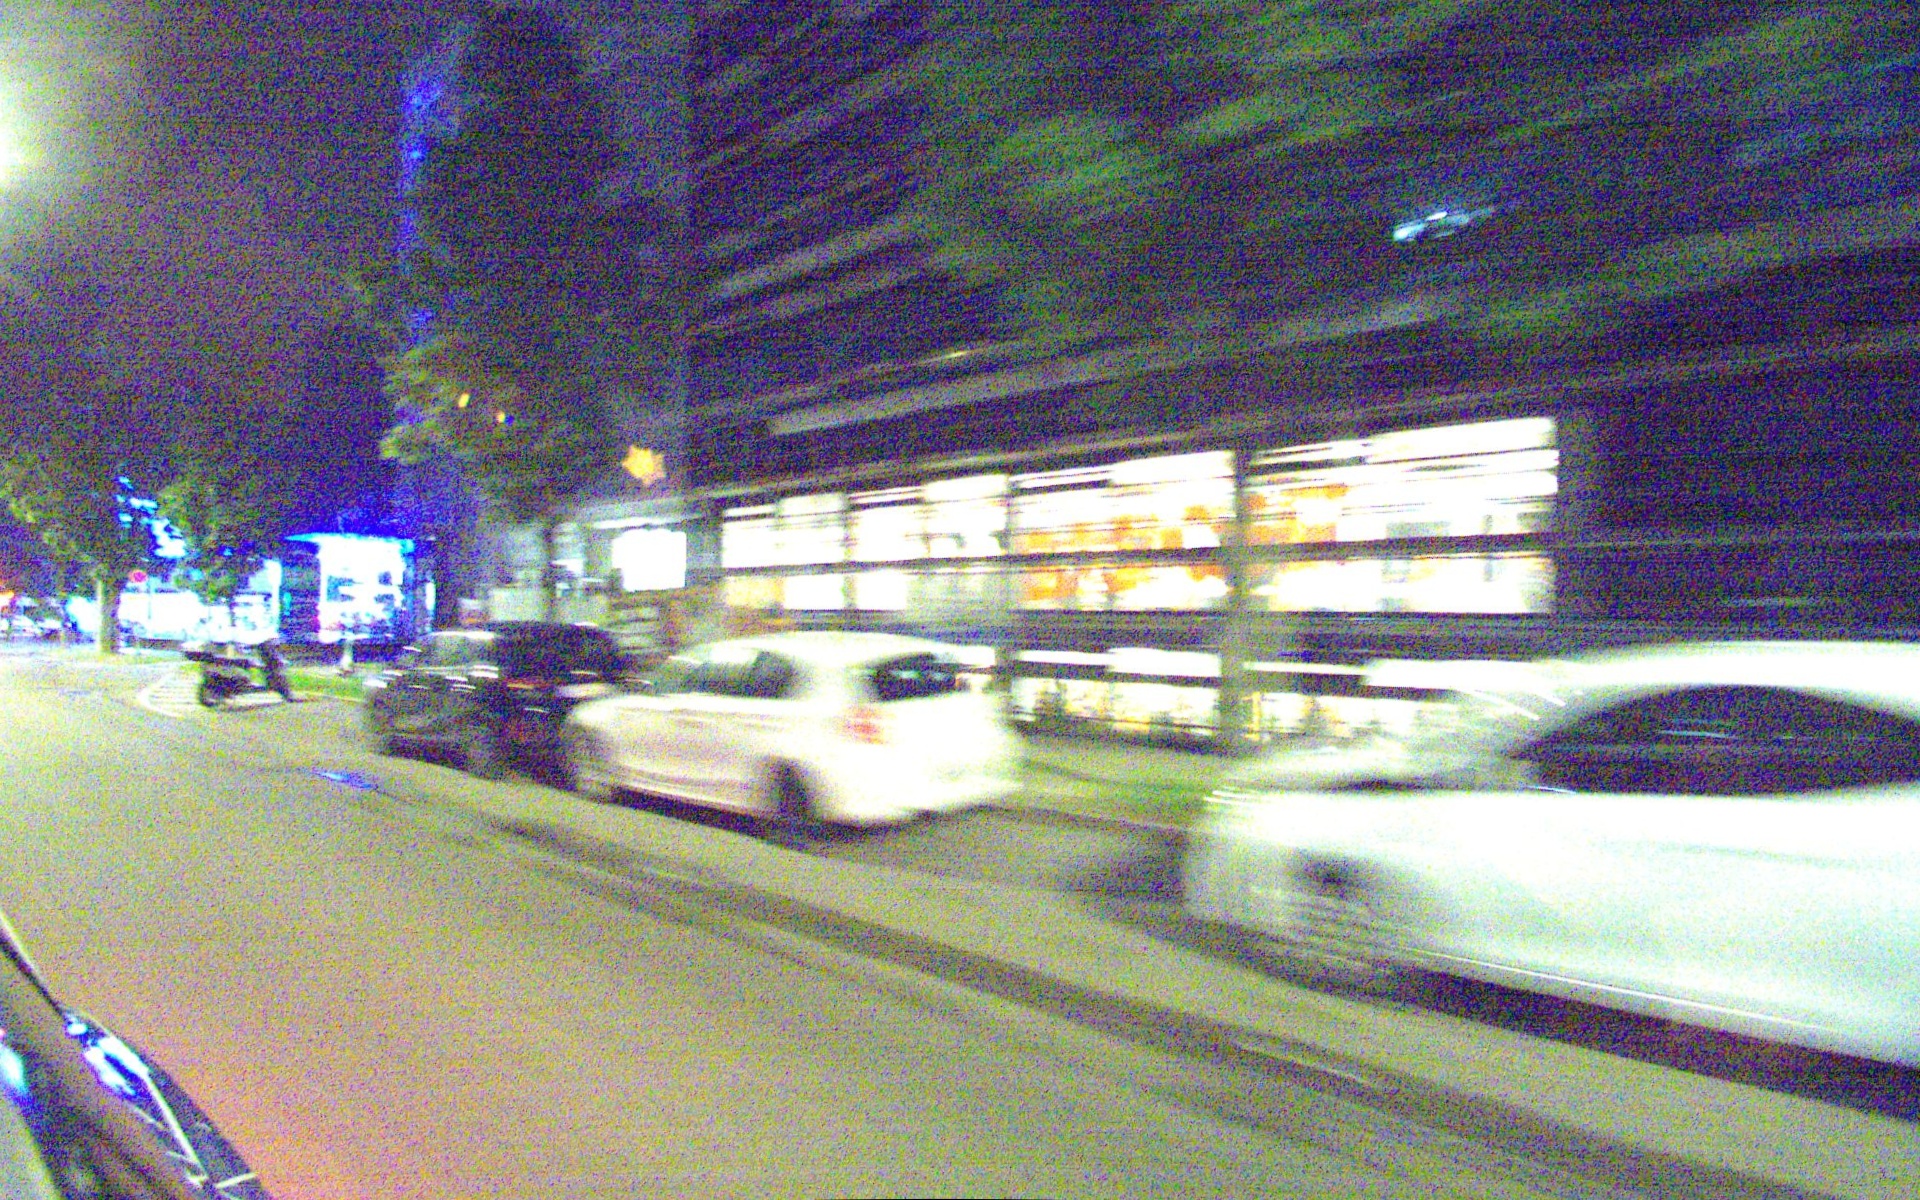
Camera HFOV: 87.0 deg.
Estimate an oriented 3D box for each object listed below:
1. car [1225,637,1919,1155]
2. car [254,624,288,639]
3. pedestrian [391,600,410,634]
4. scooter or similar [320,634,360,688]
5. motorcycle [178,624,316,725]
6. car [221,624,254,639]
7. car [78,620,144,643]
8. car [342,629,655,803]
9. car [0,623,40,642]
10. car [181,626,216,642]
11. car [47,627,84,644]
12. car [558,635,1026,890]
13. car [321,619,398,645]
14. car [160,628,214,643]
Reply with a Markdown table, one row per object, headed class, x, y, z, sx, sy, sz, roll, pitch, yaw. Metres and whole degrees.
| class | x | y | z | sx | sy | sz | roll | pitch | yaw |
| --- | --- | --- | --- | --- | --- | --- | --- | --- | --- |
| car | 2.949 | 0.922 | 3.949 | 3.366 | 1.466 | 1.532 | -1 | 0 | 40 |
| car | -69.214 | 3.162 | 101.664 | 4.084 | 1.489 | 1.840 | -1 | -1 | 41 |
| pedestrian | -26.921 | 0.823 | 48.689 | 0.642 | 1.618 | 0.569 | -1 | -1 | 40 |
| scooter or similar | -14.471 | 1.409 | 23.614 | 1.427 | 1.213 | 0.363 | -1 | -2 | 42 |
| motorcycle | -12.162 | 1.227 | 17.330 | 0.635 | 1.561 | 1.894 | -1 | 0 | 21 |
| car | -70.987 | 3.101 | 99.426 | 4.084 | 1.489 | 1.710 | -1 | -2 | 41 |
| car | -71.952 | 2.687 | 85.827 | 1.852 | 1.873 | 4.030 | -1 | -2 | 41 |
| car | -5.171 | 1.109 | 11.111 | 3.901 | 1.516 | 1.626 | -1 | 0 | 41 |
| car | -88.624 | 3.046 | 94.734 | 1.633 | 1.712 | 3.529 | -1 | -3 | 40 |
| car | -72.994 | 3.277 | 97.002 | 4.351 | 1.489 | 1.840 | -1 | -1 | 41 |
| car | -79.143 | 3.093 | 89.520 | 4.067 | 1.472 | 1.840 | -1 | -2 | 40 |
| car | -1.484 | 1.043 | 7.931 | 3.901 | 1.440 | 1.430 | -1 | 1 | 41 |
| car | -36.757 | 1.924 | 62.038 | 1.669 | 1.544 | 3.711 | -1 | -2 | 40 |
| car | -79.020 | 3.627 | 103.550 | 1.716 | 1.489 | 4.256 | -1 | -1 | 13 |
